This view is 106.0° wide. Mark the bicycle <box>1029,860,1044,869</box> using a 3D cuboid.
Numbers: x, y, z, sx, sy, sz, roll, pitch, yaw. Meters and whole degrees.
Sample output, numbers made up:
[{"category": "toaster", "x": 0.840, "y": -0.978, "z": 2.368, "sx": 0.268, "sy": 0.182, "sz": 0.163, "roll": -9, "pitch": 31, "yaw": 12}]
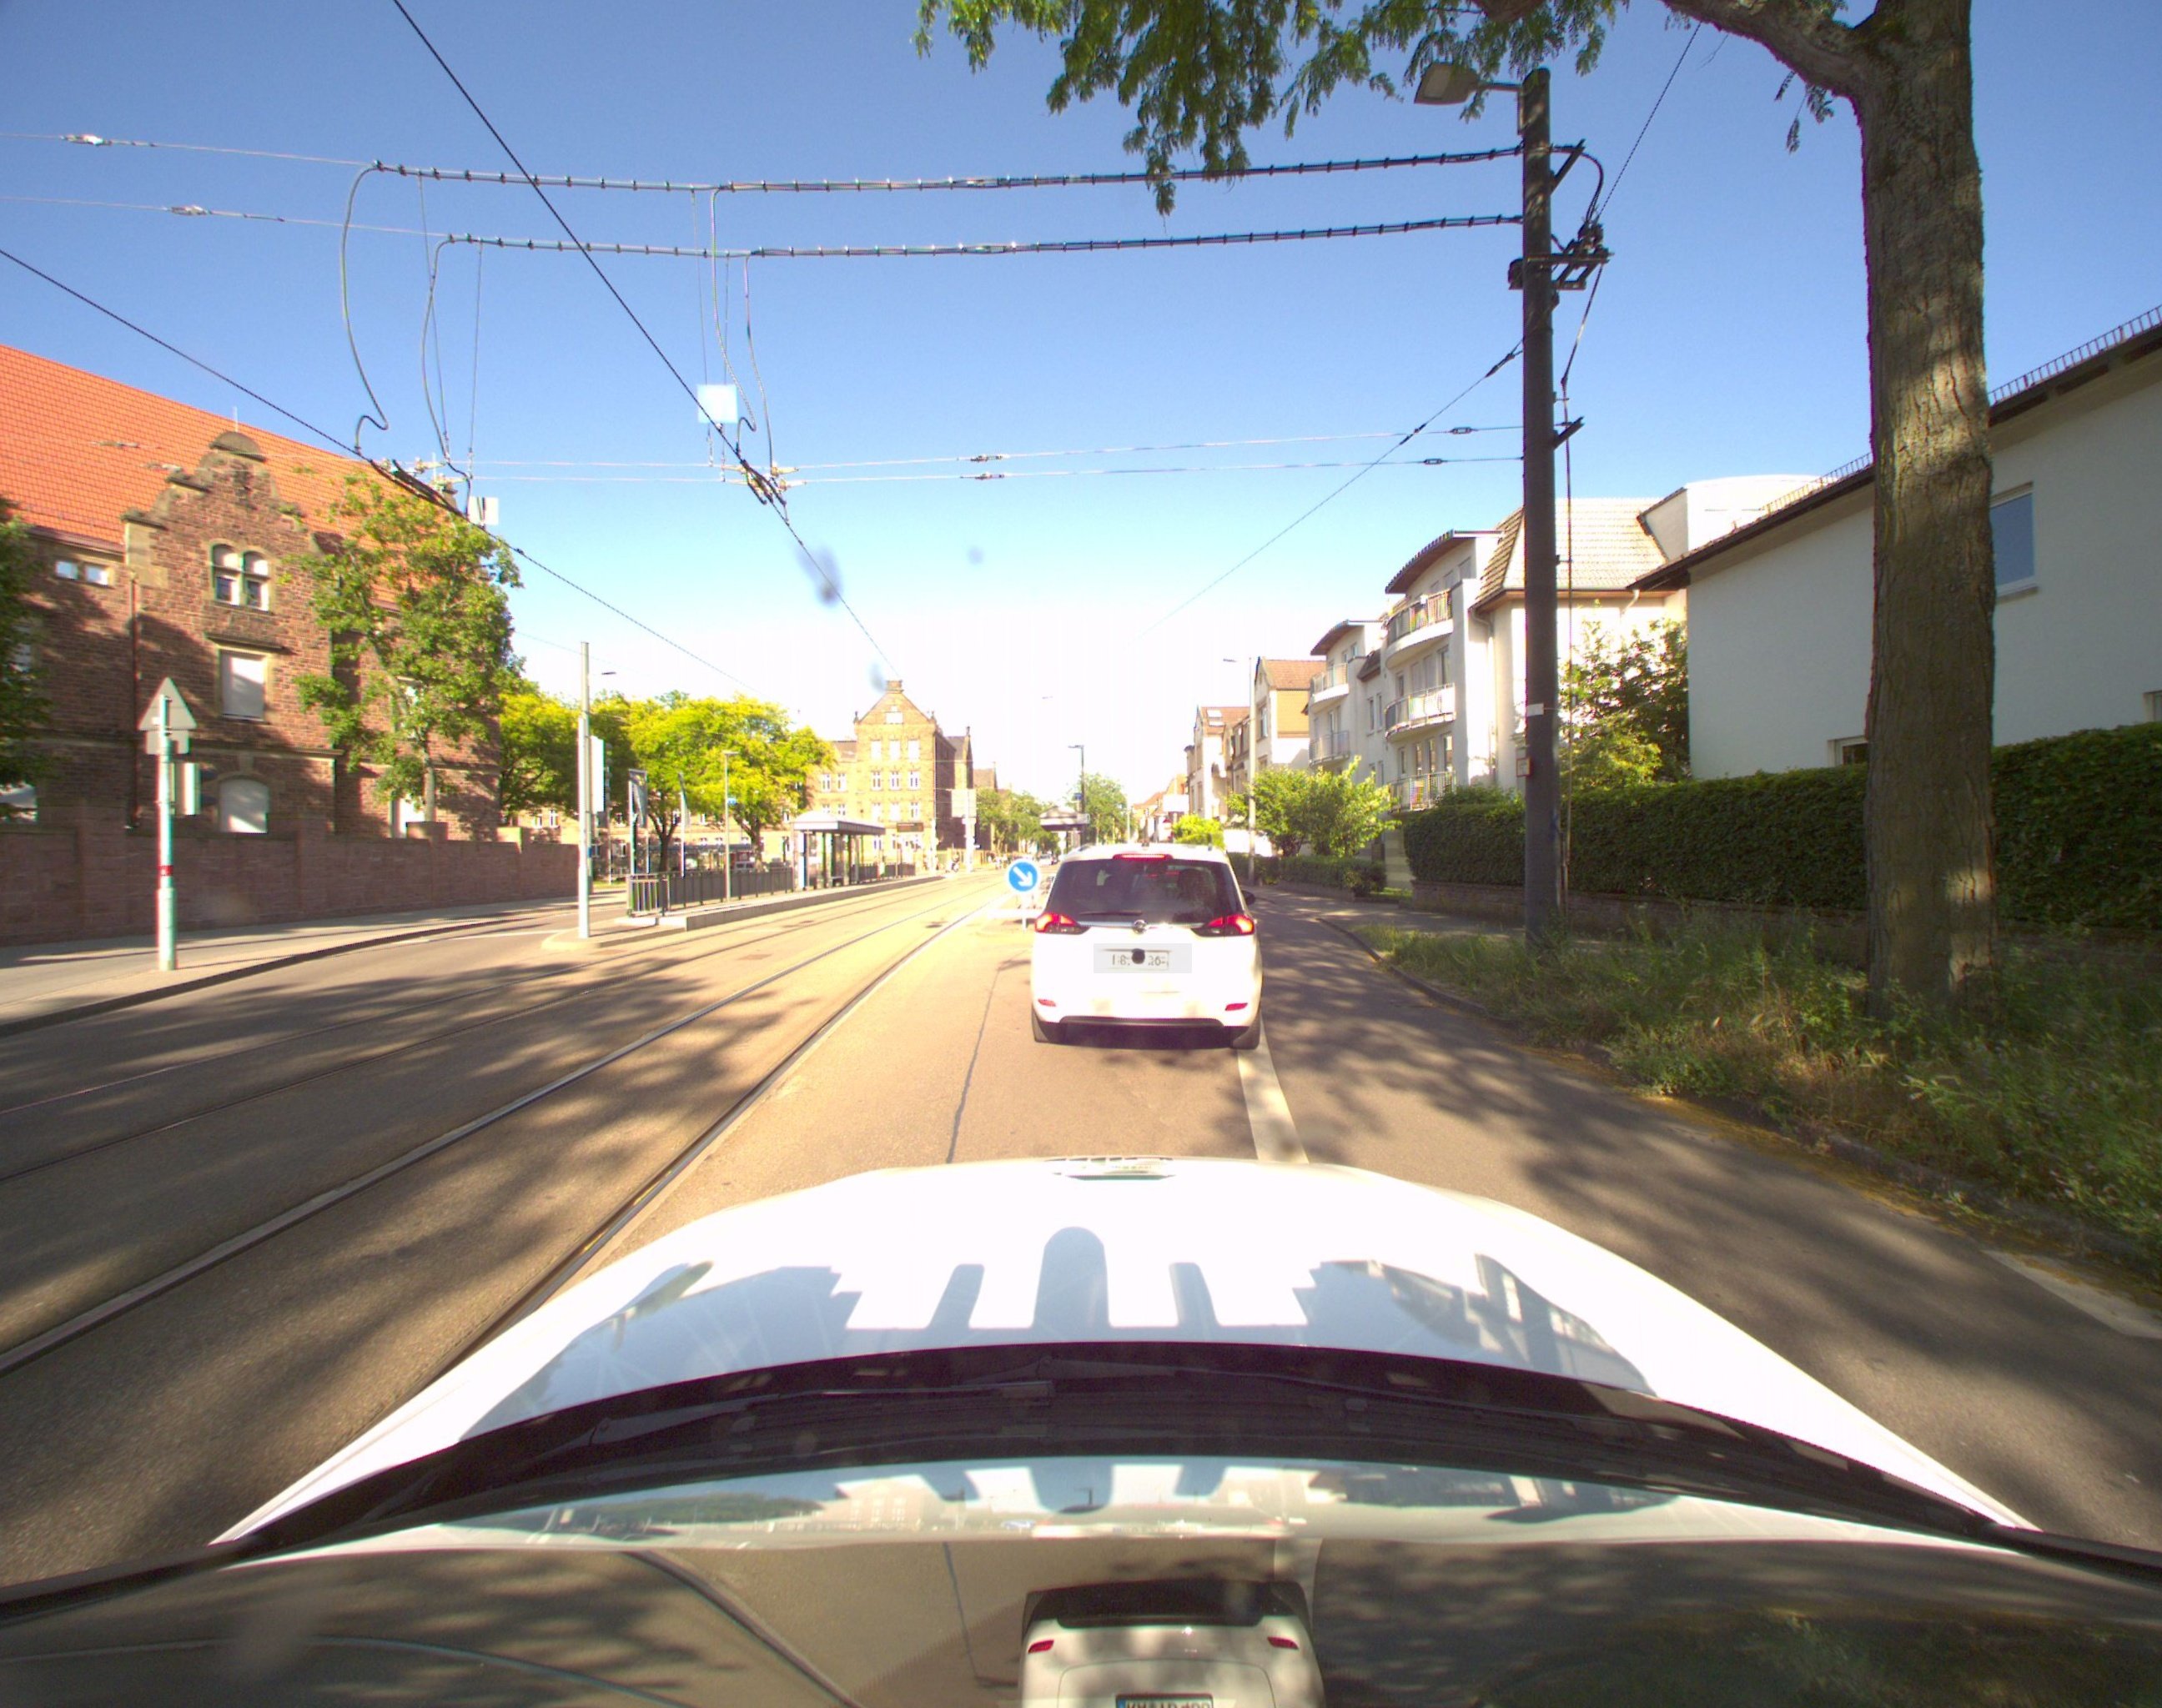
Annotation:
[{"category": "bicycle", "x": -5.168, "y": 1.213, "z": 93.970, "sx": 1.661, "sy": 0.953, "sz": 0.530, "roll": -1, "pitch": 0, "yaw": 8}]

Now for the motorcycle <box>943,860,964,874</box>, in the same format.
[{"category": "motorcycle", "x": -11.369, "y": 1.175, "z": 72.753, "sx": 0.605, "sy": 1.198, "sz": 2.089, "roll": -1, "pitch": 0, "yaw": 33}]

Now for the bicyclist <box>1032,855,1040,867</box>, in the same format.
[{"category": "bicyclist", "x": -5.185, "y": 0.825, "z": 93.973, "sx": 0.754, "sy": 1.430, "sz": 0.517, "roll": 0, "pitch": -1, "yaw": 8}]

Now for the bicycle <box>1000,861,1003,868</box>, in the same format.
[{"category": "bicycle", "x": -10.660, "y": 1.461, "z": 109.604, "sx": 0.343, "sy": 0.950, "sz": 0.996, "roll": 0, "pitch": -1, "yaw": -1}]

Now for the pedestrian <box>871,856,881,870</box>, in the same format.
[{"category": "pedestrian", "x": -22.431, "y": 0.999, "z": 89.272, "sx": 0.929, "sy": 1.588, "sz": 0.804, "roll": 0, "pitch": -1, "yaw": -2}]

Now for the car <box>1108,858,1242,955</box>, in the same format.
[{"category": "car", "x": 1.533, "y": 0.789, "z": 14.061, "sx": 1.944, "sy": 1.397, "sz": 4.005, "roll": -1, "pitch": 0, "yaw": 4}]

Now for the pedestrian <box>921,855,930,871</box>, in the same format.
[{"category": "pedestrian", "x": -17.016, "y": 0.988, "z": 89.136, "sx": 0.839, "sy": 1.691, "sz": 1.029, "roll": 0, "pitch": -1, "yaw": 1}]

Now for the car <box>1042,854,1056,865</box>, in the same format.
[{"category": "car", "x": -5.129, "y": 0.908, "z": 130.987, "sx": 1.987, "sy": 1.629, "sz": 4.000, "roll": -1, "pitch": 0, "yaw": 0}]

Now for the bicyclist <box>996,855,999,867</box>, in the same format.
[{"category": "bicyclist", "x": -10.978, "y": 0.976, "z": 107.020, "sx": 0.443, "sy": 1.553, "sz": 0.495, "roll": -1, "pitch": 0, "yaw": -2}]

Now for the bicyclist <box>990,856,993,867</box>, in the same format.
[{"category": "bicyclist", "x": -12.683, "y": 1.057, "z": 115.598, "sx": 0.443, "sy": 1.553, "sz": 0.495, "roll": -1, "pitch": 0, "yaw": -2}]

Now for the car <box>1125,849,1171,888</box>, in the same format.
[{"category": "car", "x": 2.932, "y": 0.610, "z": 36.245, "sx": 1.824, "sy": 1.579, "sz": 4.012, "roll": -1, "pitch": 0, "yaw": 2}]

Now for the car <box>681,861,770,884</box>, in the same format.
[{"category": "car", "x": -32.959, "y": 1.693, "z": 75.696, "sx": 6.926, "sy": 1.921, "sz": 2.992, "roll": -1, "pitch": 0, "yaw": 0}]

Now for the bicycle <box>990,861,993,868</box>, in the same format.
[{"category": "bicycle", "x": -12.676, "y": 1.525, "z": 115.632, "sx": 0.343, "sy": 0.950, "sz": 0.996, "roll": 0, "pitch": -1, "yaw": -1}]

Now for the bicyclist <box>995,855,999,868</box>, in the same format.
[{"category": "bicyclist", "x": -10.705, "y": 0.946, "z": 103.729, "sx": 0.443, "sy": 1.553, "sz": 0.742, "roll": -1, "pitch": 0, "yaw": -2}]

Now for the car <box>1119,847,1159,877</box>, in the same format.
[{"category": "car", "x": 3.128, "y": 0.413, "z": 44.371, "sx": 1.986, "sy": 1.503, "sz": 4.002, "roll": -1, "pitch": 0, "yaw": 2}]

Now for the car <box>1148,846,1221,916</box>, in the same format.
[{"category": "car", "x": 2.575, "y": 0.636, "z": 20.889, "sx": 1.630, "sy": 1.601, "sz": 3.859, "roll": -1, "pitch": 0, "yaw": 4}]

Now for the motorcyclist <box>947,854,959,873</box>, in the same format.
[{"category": "motorcyclist", "x": -11.410, "y": 0.842, "z": 72.699, "sx": 0.607, "sy": 1.621, "sz": 0.850, "roll": -1, "pitch": 0, "yaw": 33}]

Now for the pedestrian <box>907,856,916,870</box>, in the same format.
[{"category": "pedestrian", "x": -18.556, "y": 0.971, "z": 89.213, "sx": 0.799, "sy": 1.588, "sz": 0.934, "roll": 0, "pitch": -1, "yaw": -1}]

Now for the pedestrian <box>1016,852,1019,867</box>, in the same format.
[{"category": "pedestrian", "x": -8.768, "y": 0.773, "z": 112.344, "sx": 0.443, "sy": 2.013, "sz": 0.495, "roll": -1, "pitch": 0, "yaw": -2}]

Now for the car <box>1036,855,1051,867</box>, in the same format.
[{"category": "car", "x": -5.295, "y": 0.952, "z": 114.740, "sx": 1.989, "sy": 1.629, "sz": 3.996, "roll": -1, "pitch": 0, "yaw": -3}]

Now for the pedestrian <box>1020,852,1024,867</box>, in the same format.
[{"category": "pedestrian", "x": -8.142, "y": 0.771, "z": 112.648, "sx": 0.443, "sy": 2.013, "sz": 0.495, "roll": -1, "pitch": 0, "yaw": -2}]

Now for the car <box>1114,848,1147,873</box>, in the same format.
[{"category": "car", "x": 3.103, "y": 0.384, "z": 51.839, "sx": 1.986, "sy": 1.503, "sz": 4.002, "roll": -1, "pitch": 0, "yaw": 2}]

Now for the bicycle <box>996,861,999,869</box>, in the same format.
[{"category": "bicycle", "x": -11.002, "y": 1.443, "z": 107.061, "sx": 0.343, "sy": 0.950, "sz": 0.996, "roll": 0, "pitch": -1, "yaw": -1}]

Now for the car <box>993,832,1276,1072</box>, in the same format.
[{"category": "car", "x": 0.645, "y": 0.682, "z": 7.699, "sx": 1.982, "sy": 1.644, "sz": 4.003, "roll": 0, "pitch": 0, "yaw": 8}]

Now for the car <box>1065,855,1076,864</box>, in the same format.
[{"category": "car", "x": -1.937, "y": 0.933, "z": 145.931, "sx": 1.988, "sy": 1.629, "sz": 3.998, "roll": -1, "pitch": 0, "yaw": -1}]

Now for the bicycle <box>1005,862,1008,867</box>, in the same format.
[{"category": "bicycle", "x": -10.204, "y": 1.462, "z": 112.098, "sx": 0.343, "sy": 0.725, "sz": 0.996, "roll": 0, "pitch": -1, "yaw": -1}]

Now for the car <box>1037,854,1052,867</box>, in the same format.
[{"category": "car", "x": -4.814, "y": 0.891, "z": 107.617, "sx": 1.989, "sy": 1.629, "sz": 3.996, "roll": -1, "pitch": 0, "yaw": -3}]

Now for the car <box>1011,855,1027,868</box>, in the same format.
[{"category": "car", "x": -8.190, "y": 0.922, "z": 107.475, "sx": 1.989, "sy": 1.629, "sz": 3.996, "roll": -1, "pitch": 0, "yaw": -3}]

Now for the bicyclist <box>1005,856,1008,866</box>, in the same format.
[{"category": "bicyclist", "x": -10.213, "y": 0.997, "z": 112.097, "sx": 0.358, "sy": 1.303, "sz": 0.397, "roll": -1, "pitch": 0, "yaw": -2}]

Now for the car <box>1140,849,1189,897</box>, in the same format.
[{"category": "car", "x": 2.945, "y": 0.634, "z": 29.315, "sx": 1.630, "sy": 1.601, "sz": 3.859, "roll": -1, "pitch": 0, "yaw": 4}]

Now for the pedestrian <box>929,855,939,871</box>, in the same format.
[{"category": "pedestrian", "x": -15.987, "y": 0.970, "z": 88.708, "sx": 0.892, "sy": 1.684, "sz": 1.029, "roll": 0, "pitch": -1, "yaw": 1}]

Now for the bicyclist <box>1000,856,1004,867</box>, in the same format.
[{"category": "bicyclist", "x": -10.661, "y": 0.995, "z": 109.599, "sx": 0.443, "sy": 1.553, "sz": 0.495, "roll": -1, "pitch": 0, "yaw": -2}]

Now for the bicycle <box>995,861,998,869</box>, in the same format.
[{"category": "bicycle", "x": -10.713, "y": 1.413, "z": 103.519, "sx": 0.343, "sy": 0.950, "sz": 1.160, "roll": 0, "pitch": -1, "yaw": -1}]
